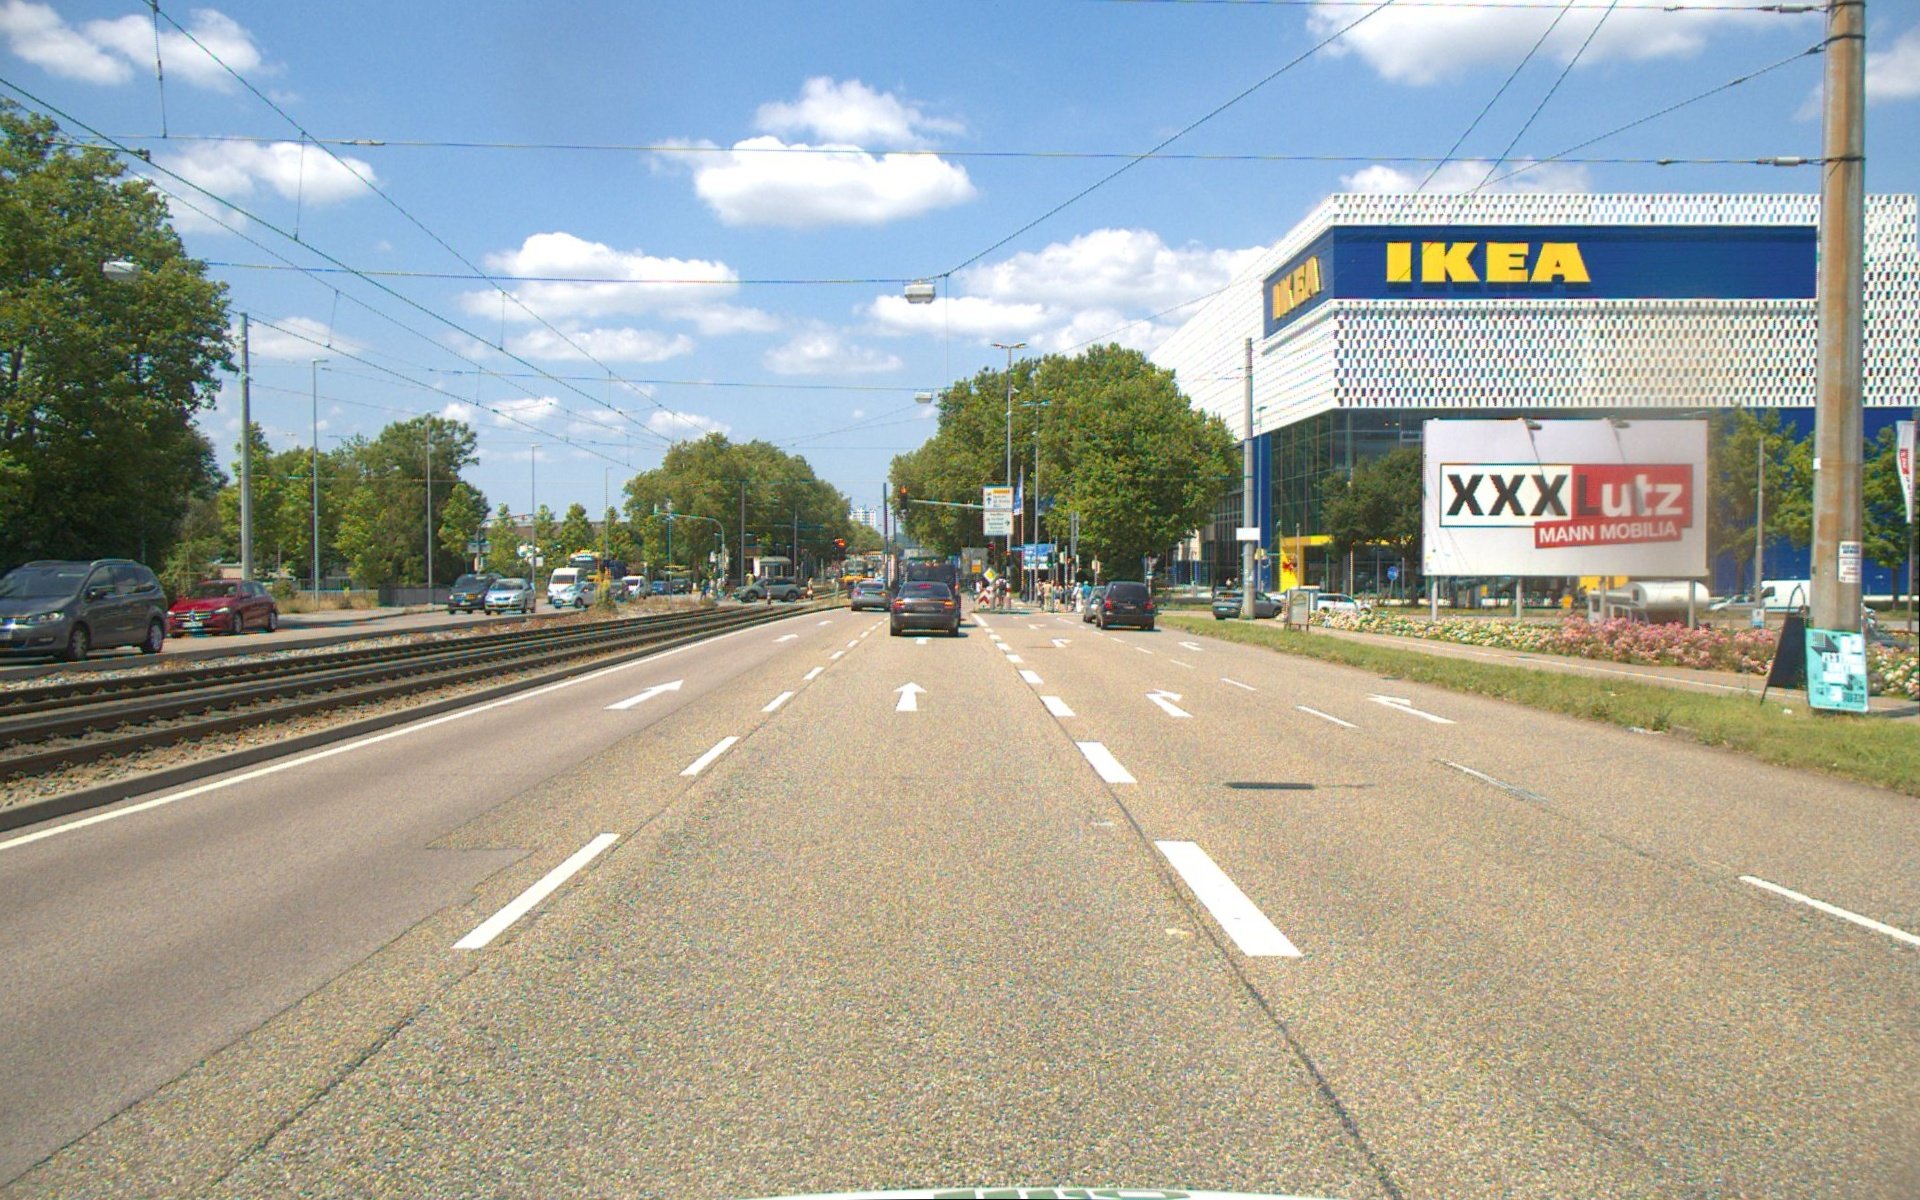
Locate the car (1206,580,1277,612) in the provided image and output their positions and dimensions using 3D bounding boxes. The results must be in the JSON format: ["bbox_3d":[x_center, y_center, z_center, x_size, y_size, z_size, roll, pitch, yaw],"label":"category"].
[{"bbox_3d":[14.493,-0.209,85.031,1.961,1.512,4.128,3,1,36],"label":"car"}]

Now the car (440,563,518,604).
[{"bbox_3d":[-23.111,-0.823,79.642,1.951,1.862,4.972,-2,1,4],"label":"car"}]

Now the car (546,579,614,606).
[{"bbox_3d":[-21.681,-0.448,94.505,1.786,1.440,3.881,-2,1,25],"label":"car"}]

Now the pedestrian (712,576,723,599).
[{"bbox_3d":[-16.838,-0.850,114.769,0.671,1.592,0.572,1,0,-5],"label":"pedestrian"}]

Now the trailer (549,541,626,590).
[{"bbox_3d":[-29.025,-2.624,129.717,2.711,3.579,15.875,1,1,-1],"label":"trailer"}]

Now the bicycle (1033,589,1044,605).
[{"bbox_3d":[4.352,-0.161,91.870,0.538,0.892,1.698,1,1,2],"label":"bicycle"}]

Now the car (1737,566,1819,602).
[{"bbox_3d":[55.364,-1.079,111.969,4.668,2.349,1.998,1,0,-6],"label":"car"}]

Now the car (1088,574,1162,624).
[{"bbox_3d":[5.446,-0.066,54.906,1.953,1.512,4.000,2,1,-1],"label":"car"}]

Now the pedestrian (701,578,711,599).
[{"bbox_3d":[-17.457,-0.800,113.645,0.671,1.468,0.572,1,0,-5],"label":"pedestrian"}]

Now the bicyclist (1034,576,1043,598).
[{"bbox_3d":[4.389,-0.744,92.294,0.461,1.214,0.791,1,0,2],"label":"bicyclist"}]

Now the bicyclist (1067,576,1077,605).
[{"bbox_3d":[6.934,-0.581,102.548,0.517,1.795,0.828,1,0,12],"label":"bicyclist"}]

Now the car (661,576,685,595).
[{"bbox_3d":[-29.159,-1.462,167.902,1.781,1.916,3.999,1,1,-1],"label":"car"}]

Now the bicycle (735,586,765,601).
[{"bbox_3d":[-14.368,-0.457,113.074,2.019,0.941,0.751,1,0,-11],"label":"bicycle"}]

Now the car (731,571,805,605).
[{"bbox_3d":[-12.201,-0.751,105.117,4.334,1.951,1.988,2,1,-22],"label":"car"}]

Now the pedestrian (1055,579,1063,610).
[{"bbox_3d":[5.400,-0.299,90.200,0.435,1.663,0.430,1,0,2],"label":"pedestrian"}]

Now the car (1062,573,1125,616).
[{"bbox_3d":[5.032,-0.230,62.845,1.953,1.512,4.166,2,1,-1],"label":"car"}]

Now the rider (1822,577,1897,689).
[{"bbox_3d":[12.238,0.440,22.521,0.655,1.483,0.618,1,0,-2],"label":"rider"}]

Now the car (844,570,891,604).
[{"bbox_3d":[-4.302,-0.628,77.522,1.953,1.512,4.000,2,1,-1],"label":"car"}]

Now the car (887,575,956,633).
[{"bbox_3d":[-1.015,0.067,44.399,1.756,1.480,4.000,0,1,-1],"label":"car"}]

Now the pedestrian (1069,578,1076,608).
[{"bbox_3d":[6.260,-0.393,92.182,0.332,1.663,0.377,1,0,2],"label":"pedestrian"}]

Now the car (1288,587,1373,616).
[{"bbox_3d":[21.230,0.081,94.799,4.302,1.512,1.993,2,1,-15],"label":"car"}]

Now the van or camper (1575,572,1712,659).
[{"bbox_3d":[25.918,0.527,63.070,2.455,3.072,7.226,1,1,3],"label":"van or camper"}]

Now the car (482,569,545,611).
[{"bbox_3d":[-18.518,-0.441,68.753,1.652,1.611,4.057,-2,1,-3],"label":"car"}]

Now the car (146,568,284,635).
[{"bbox_3d":[-20.654,0.001,46.061,1.954,1.699,4.466,-2,1,-3],"label":"car"}]

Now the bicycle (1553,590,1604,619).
[{"bbox_3d":[33.397,0.247,89.338,2.372,1.507,0.989,1,0,3],"label":"bicycle"}]

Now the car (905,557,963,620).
[{"bbox_3d":[-0.871,-0.417,54.552,1.799,1.984,4.000,1,1,-1],"label":"car"}]

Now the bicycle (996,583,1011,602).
[{"bbox_3d":[2.377,-0.411,90.664,0.674,1.011,2.751,1,1,-1],"label":"bicycle"}]

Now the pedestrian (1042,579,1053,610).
[{"bbox_3d":[4.792,-0.312,90.288,0.542,1.663,0.433,1,0,2],"label":"pedestrian"}]

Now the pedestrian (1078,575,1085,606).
[{"bbox_3d":[6.635,-0.525,90.169,0.314,1.663,0.377,1,0,2],"label":"pedestrian"}]

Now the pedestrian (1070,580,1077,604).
[{"bbox_3d":[6.180,-0.440,90.146,0.365,1.326,0.365,1,0,2],"label":"pedestrian"}]

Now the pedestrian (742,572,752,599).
[{"bbox_3d":[-16.149,-1.116,125.384,0.672,2.049,0.572,1,0,-5],"label":"pedestrian"}]

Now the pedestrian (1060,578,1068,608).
[{"bbox_3d":[5.795,-0.386,92.316,0.373,1.663,0.377,1,0,2],"label":"pedestrian"}]

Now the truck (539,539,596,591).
[{"bbox_3d":[-28.861,-2.542,121.865,2.711,3.631,6.438,1,0,-1],"label":"truck"}]

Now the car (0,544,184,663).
[{"bbox_3d":[-15.533,0.041,28.641,1.954,1.862,4.967,-2,1,-3],"label":"car"}]

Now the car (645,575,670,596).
[{"bbox_3d":[-29.065,-1.390,158.947,1.781,1.916,3.999,1,1,-1],"label":"car"}]

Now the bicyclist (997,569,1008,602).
[{"bbox_3d":[2.310,-0.797,90.410,0.518,1.820,1.088,1,0,0],"label":"bicyclist"}]

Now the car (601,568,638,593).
[{"bbox_3d":[-24.895,-1.417,120.959,1.785,1.699,4.461,2,1,-1],"label":"car"}]
